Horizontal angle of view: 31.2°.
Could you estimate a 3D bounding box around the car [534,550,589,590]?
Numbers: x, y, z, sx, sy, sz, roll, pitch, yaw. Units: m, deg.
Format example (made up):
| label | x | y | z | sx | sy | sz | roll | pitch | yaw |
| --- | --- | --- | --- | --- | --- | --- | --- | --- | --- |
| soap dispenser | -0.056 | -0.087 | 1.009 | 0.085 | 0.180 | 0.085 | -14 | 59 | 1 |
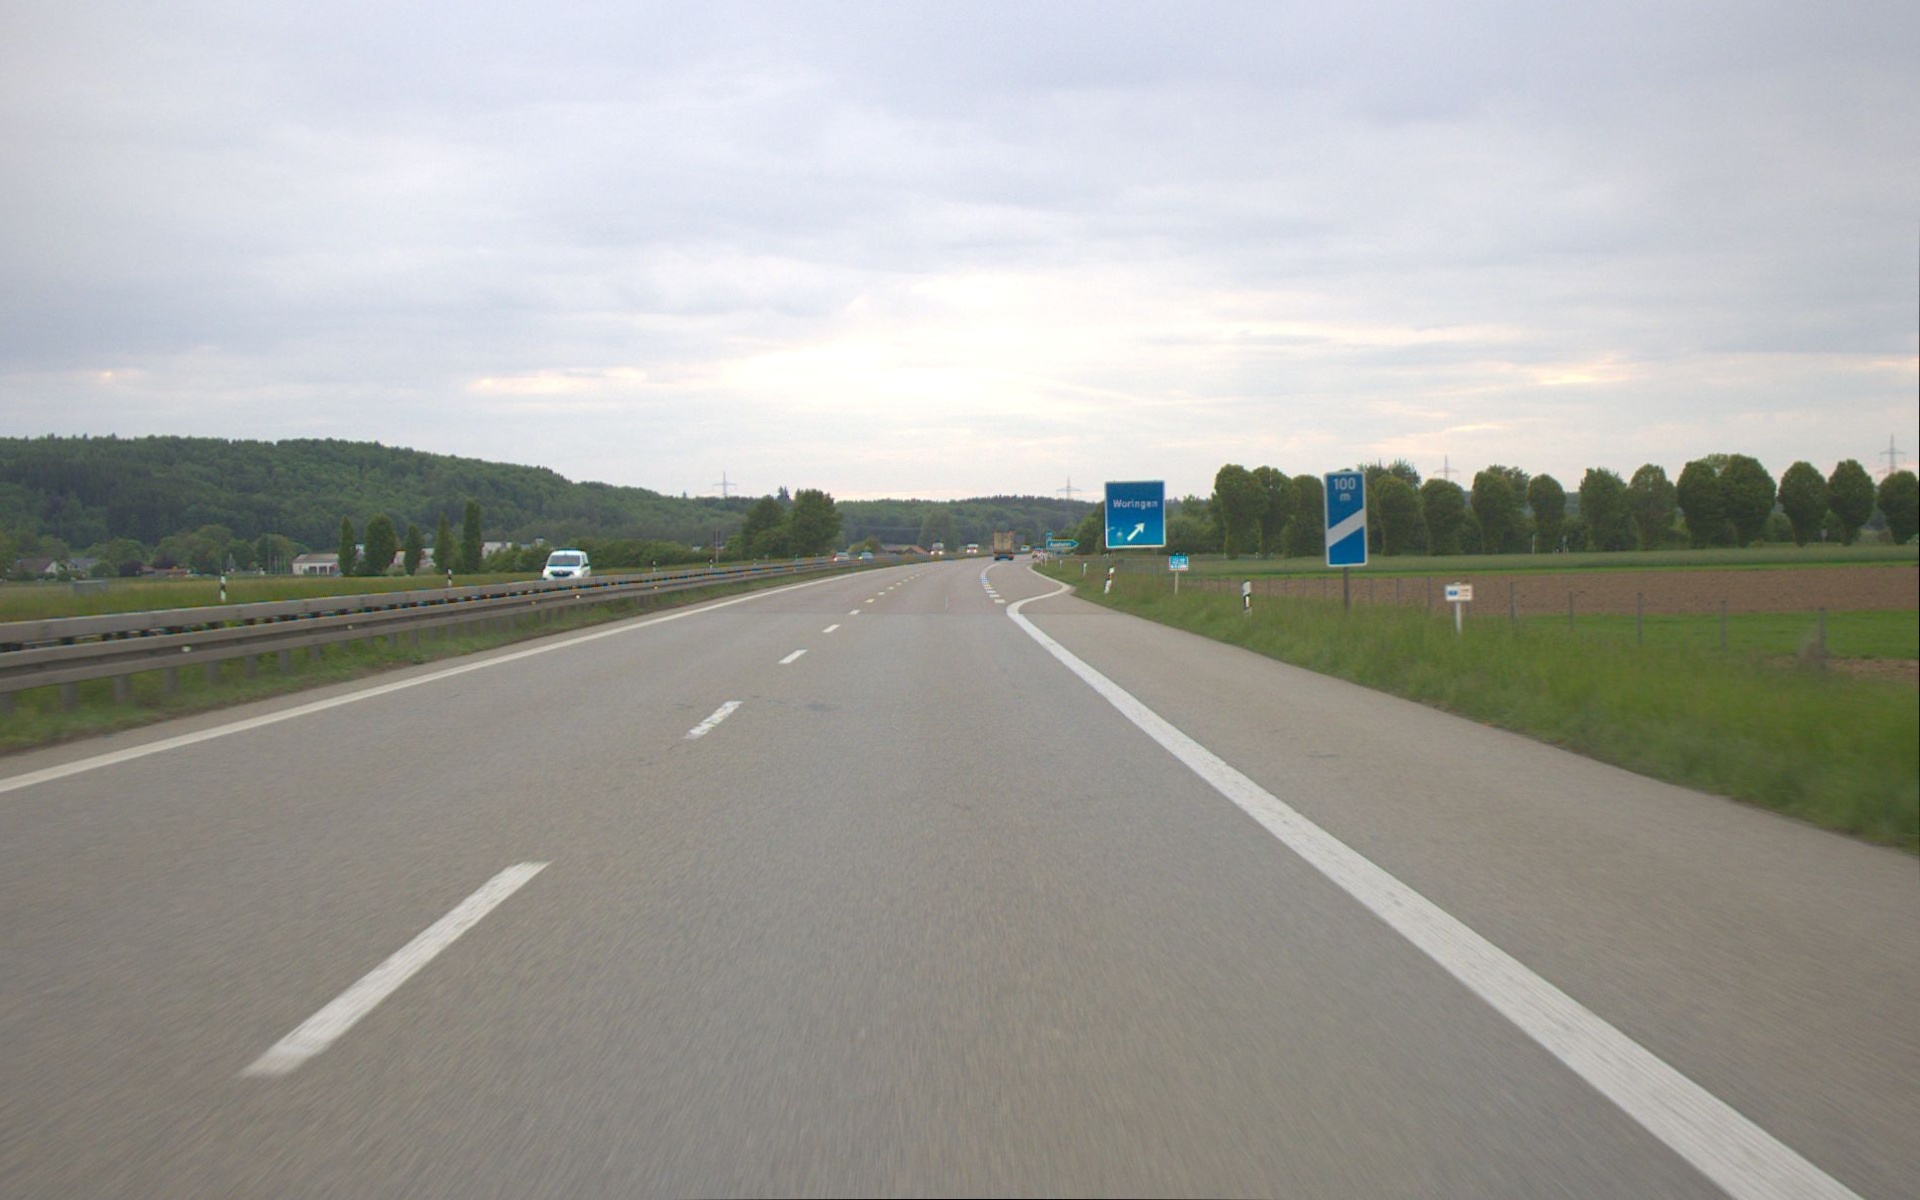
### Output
| label | x | y | z | sx | sy | sz | roll | pitch | yaw |
| --- | --- | --- | --- | --- | --- | --- | --- | --- | --- |
| car | -18.175 | -1.370 | 157.144 | 1.993 | 1.759 | 4.952 | 1 | 1 | -1 |
